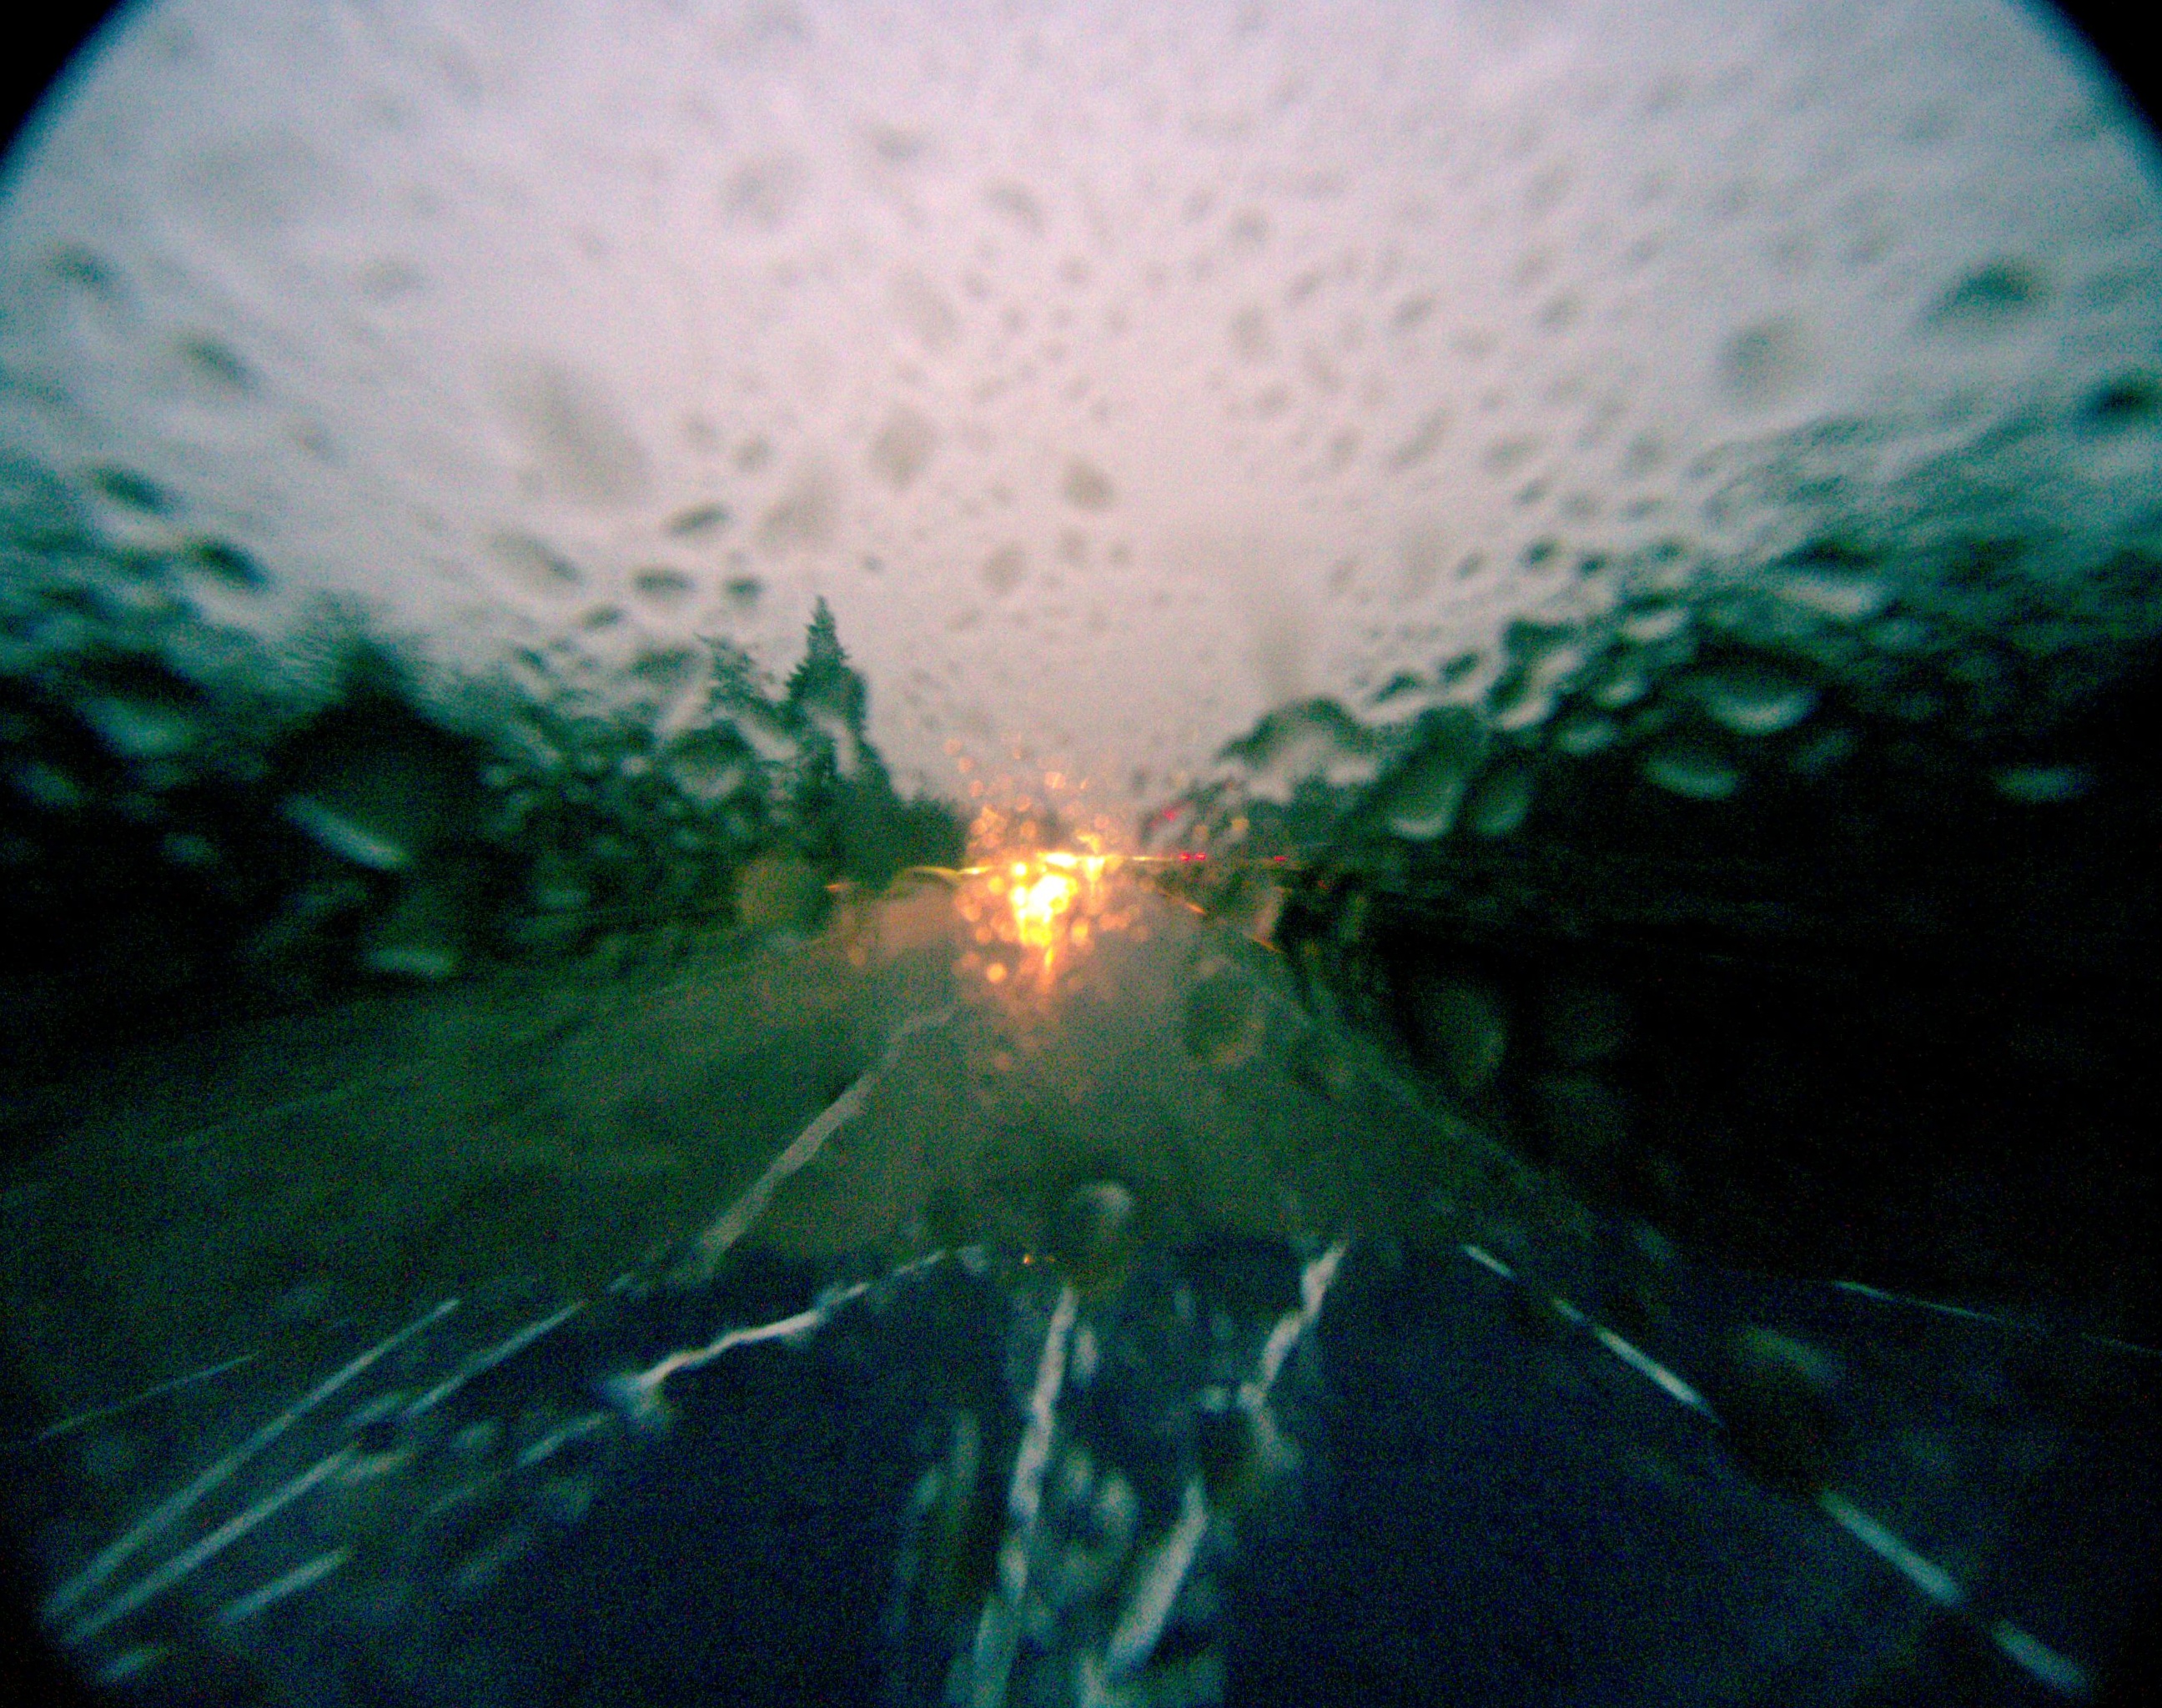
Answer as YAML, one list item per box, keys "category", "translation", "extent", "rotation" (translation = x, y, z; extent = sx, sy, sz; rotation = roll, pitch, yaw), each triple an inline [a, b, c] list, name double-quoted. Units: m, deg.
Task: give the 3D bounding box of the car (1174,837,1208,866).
- category: "car"
  translation: [8.706, -0.253, 60.487]
  extent: [1.998, 2.118, 4.572]
  rotation: [-2, 1, 1]

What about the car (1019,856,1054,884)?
- category: "car"
  translation: [-2.566, 0.897, 44.992]
  extent: [1.741, 1.441, 3.999]
  rotation: [-2, 1, 1]

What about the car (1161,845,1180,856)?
- category: "car"
  translation: [11.654, -0.443, 99.121]
  extent: [1.998, 1.277, 3.999]
  rotation: [-2, 1, 1]

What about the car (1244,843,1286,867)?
- category: "car"
  translation: [12.458, 0.009, 51.699]
  extent: [1.757, 1.476, 4.721]
  rotation: [-2, 1, 1]

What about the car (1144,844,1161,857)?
- category: "car"
  translation: [9.063, -0.494, 96.765]
  extent: [1.832, 1.536, 3.999]
  rotation: [-2, 1, 1]

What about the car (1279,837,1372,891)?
- category: "car"
  translation: [7.960, 0.279, 25.166]
  extent: [1.683, 1.569, 4.421]
  rotation: [-2, 1, 1]
